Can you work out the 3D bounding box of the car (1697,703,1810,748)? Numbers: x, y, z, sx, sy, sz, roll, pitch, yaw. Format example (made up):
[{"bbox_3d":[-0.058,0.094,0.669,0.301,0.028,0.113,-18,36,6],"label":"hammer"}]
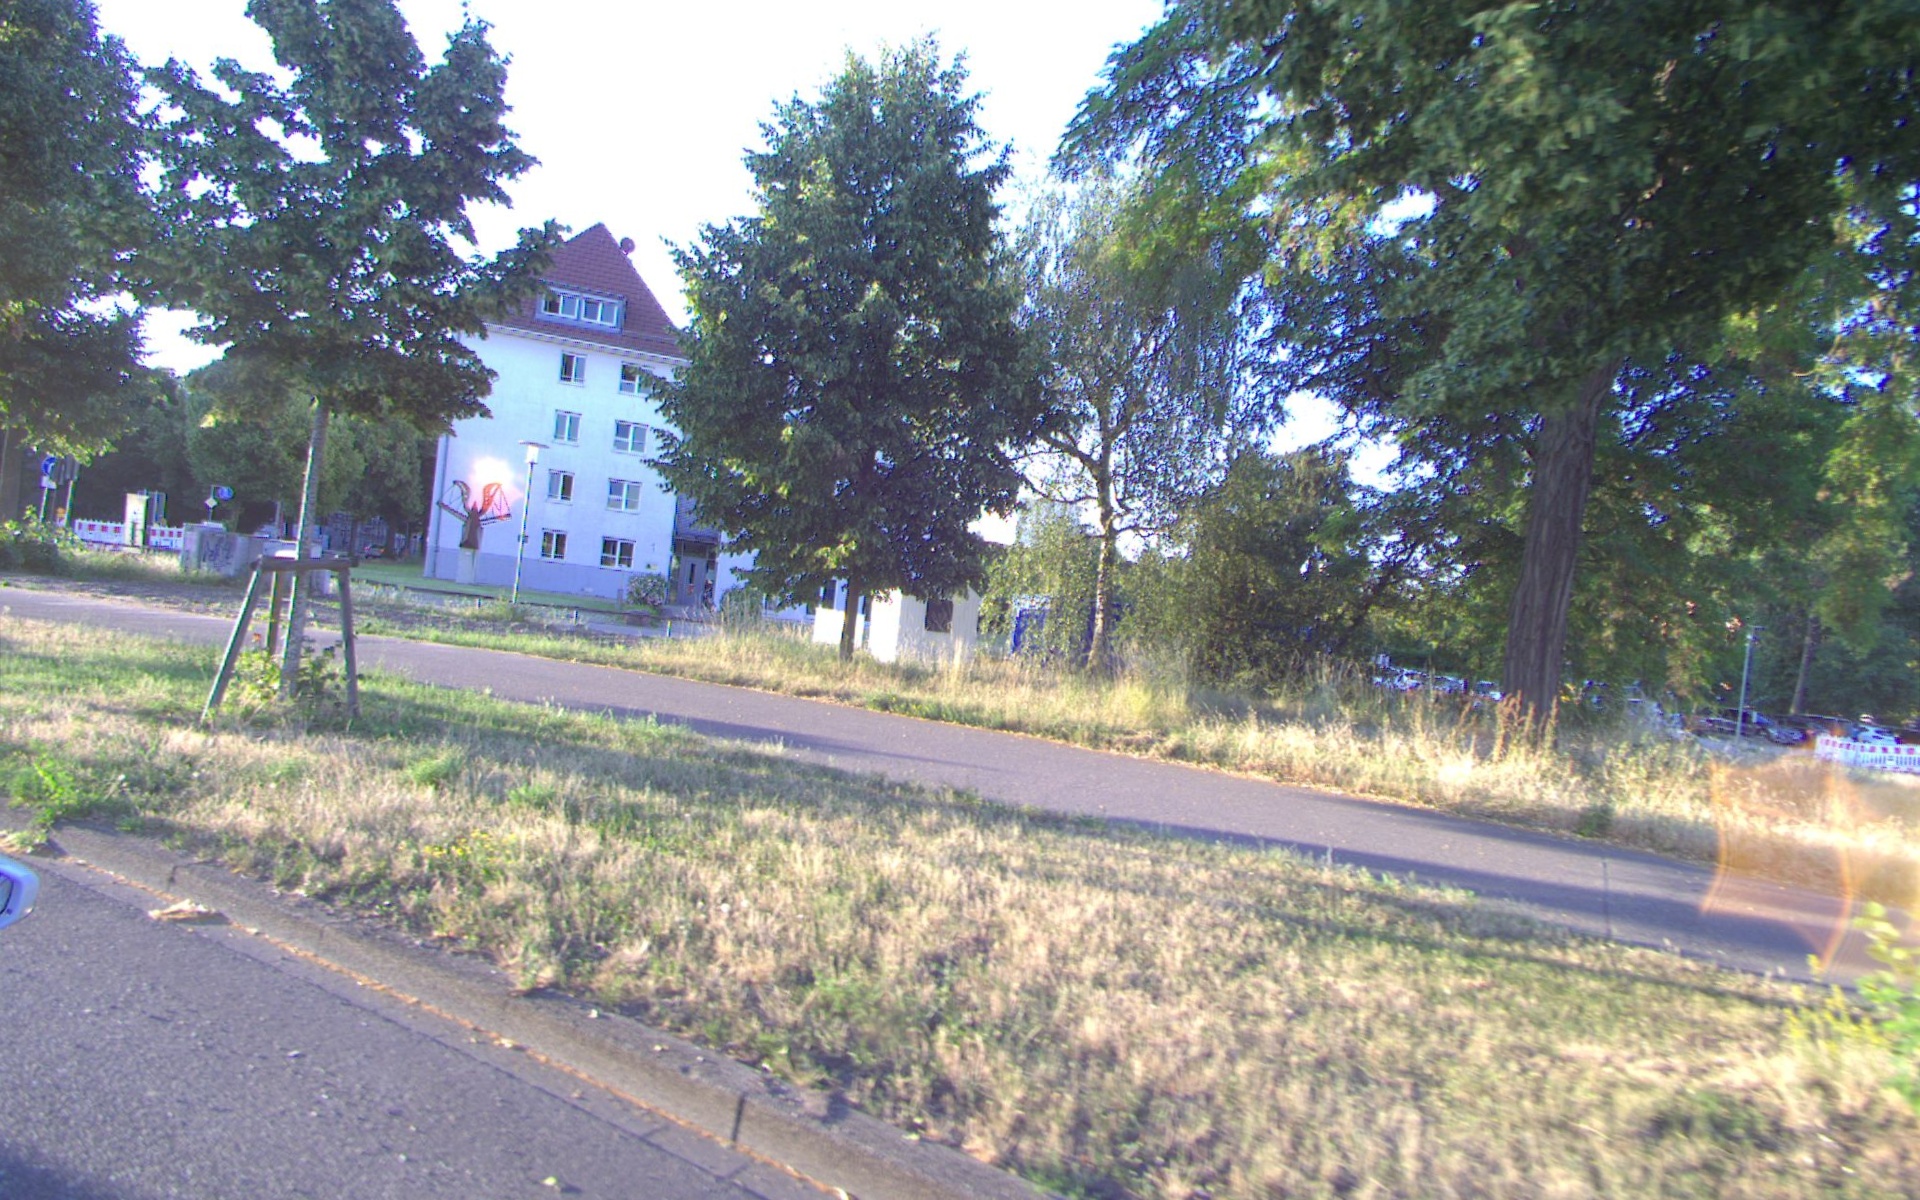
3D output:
[{"bbox_3d":[40.619,6.394,51.599,1.877,1.572,4.080,7,-1,-21],"label":"car"}]

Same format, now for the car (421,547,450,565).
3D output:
[{"bbox_3d":[-58.799,-4.862,112.772,1.928,1.621,4.065,8,-1,-16],"label":"car"}]

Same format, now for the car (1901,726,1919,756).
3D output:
[{"bbox_3d":[56.596,8.326,57.224,1.877,1.572,3.981,7,-1,-21],"label":"car"}]

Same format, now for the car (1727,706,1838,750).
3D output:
[{"bbox_3d":[42.824,6.638,52.495,1.877,1.572,3.981,7,-1,-21],"label":"car"}]

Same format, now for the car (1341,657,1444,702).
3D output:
[{"bbox_3d":[19.512,3.558,45.570,1.926,1.463,3.981,7,-1,-21],"label":"car"}]

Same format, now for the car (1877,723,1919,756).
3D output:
[{"bbox_3d":[54.412,8.031,56.327,1.877,1.572,3.981,7,-1,-21],"label":"car"}]

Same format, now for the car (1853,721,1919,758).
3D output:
[{"bbox_3d":[52.170,7.797,55.405,1.877,1.572,3.981,7,-1,-21],"label":"car"}]

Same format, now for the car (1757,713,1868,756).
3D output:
[{"bbox_3d":[45.124,7.106,53.348,1.877,1.572,3.981,7,-1,-21],"label":"car"}]

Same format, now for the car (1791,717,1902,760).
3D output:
[{"bbox_3d":[47.820,7.452,54.346,1.877,1.572,3.981,7,-1,-21],"label":"car"}]

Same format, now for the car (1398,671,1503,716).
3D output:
[{"bbox_3d":[22.424,4.267,46.188,1.926,1.463,3.981,7,-1,-21],"label":"car"}]

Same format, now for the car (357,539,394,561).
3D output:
[{"bbox_3d":[-52.894,-4.519,91.145,1.929,1.621,4.063,8,-1,-18],"label":"car"}]
